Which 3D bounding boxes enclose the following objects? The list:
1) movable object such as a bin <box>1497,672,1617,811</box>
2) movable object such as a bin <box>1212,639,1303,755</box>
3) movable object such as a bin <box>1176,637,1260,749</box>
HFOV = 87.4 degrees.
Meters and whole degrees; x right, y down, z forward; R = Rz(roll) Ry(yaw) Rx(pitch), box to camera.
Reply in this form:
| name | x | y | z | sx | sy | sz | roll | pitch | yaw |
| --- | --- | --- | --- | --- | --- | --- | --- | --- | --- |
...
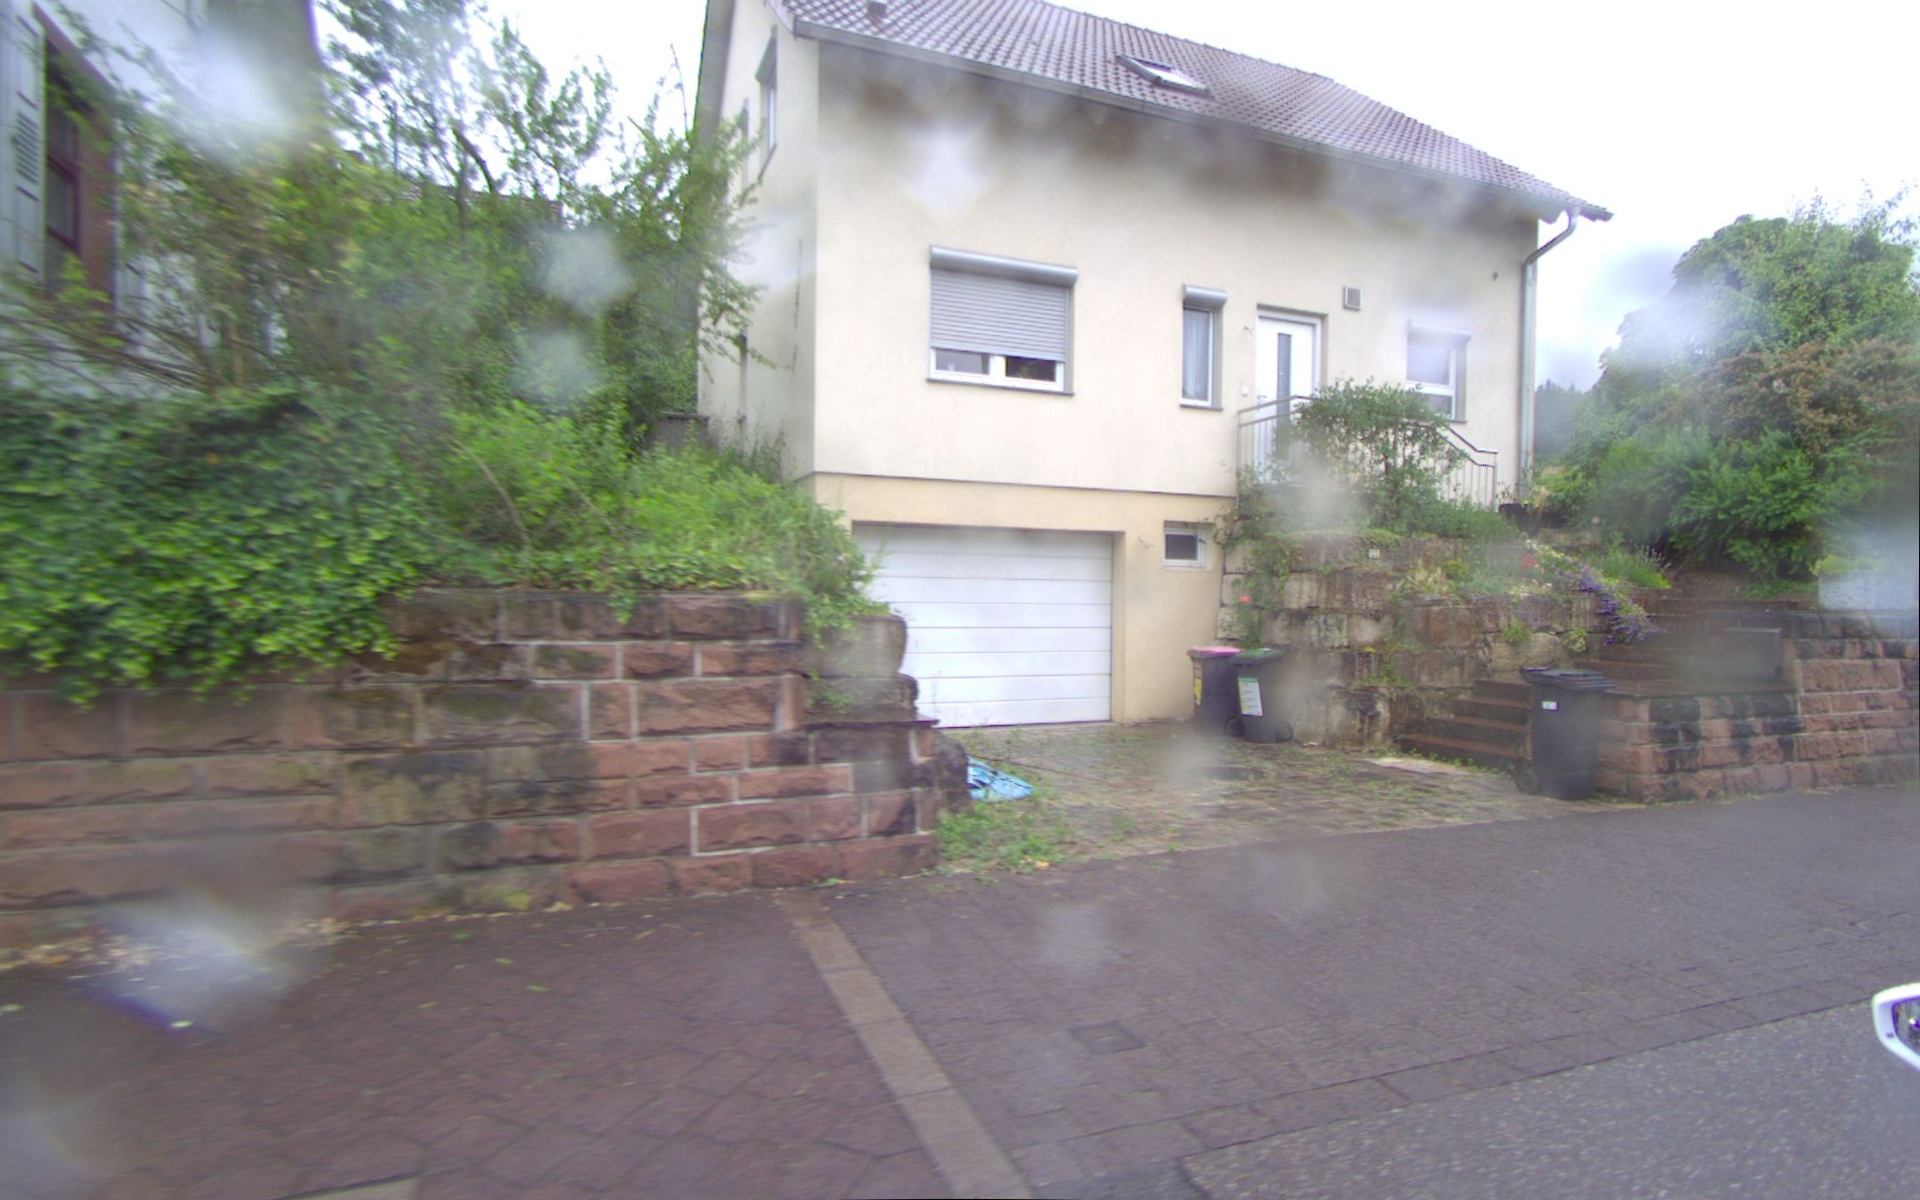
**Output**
| name | x | y | z | sx | sy | sz | roll | pitch | yaw |
| --- | --- | --- | --- | --- | --- | --- | --- | --- | --- |
| movable object such as a bin | 4.474 | 1.040 | 7.538 | 0.537 | 0.943 | 0.536 | 1 | 2 | -24 |
| movable object such as a bin | 3.037 | 0.967 | 10.281 | 0.646 | 1.077 | 0.621 | -2 | 3 | -21 |
| movable object such as a bin | 2.788 | 0.992 | 10.893 | 0.639 | 1.122 | 0.606 | 0 | 3 | -16 |
